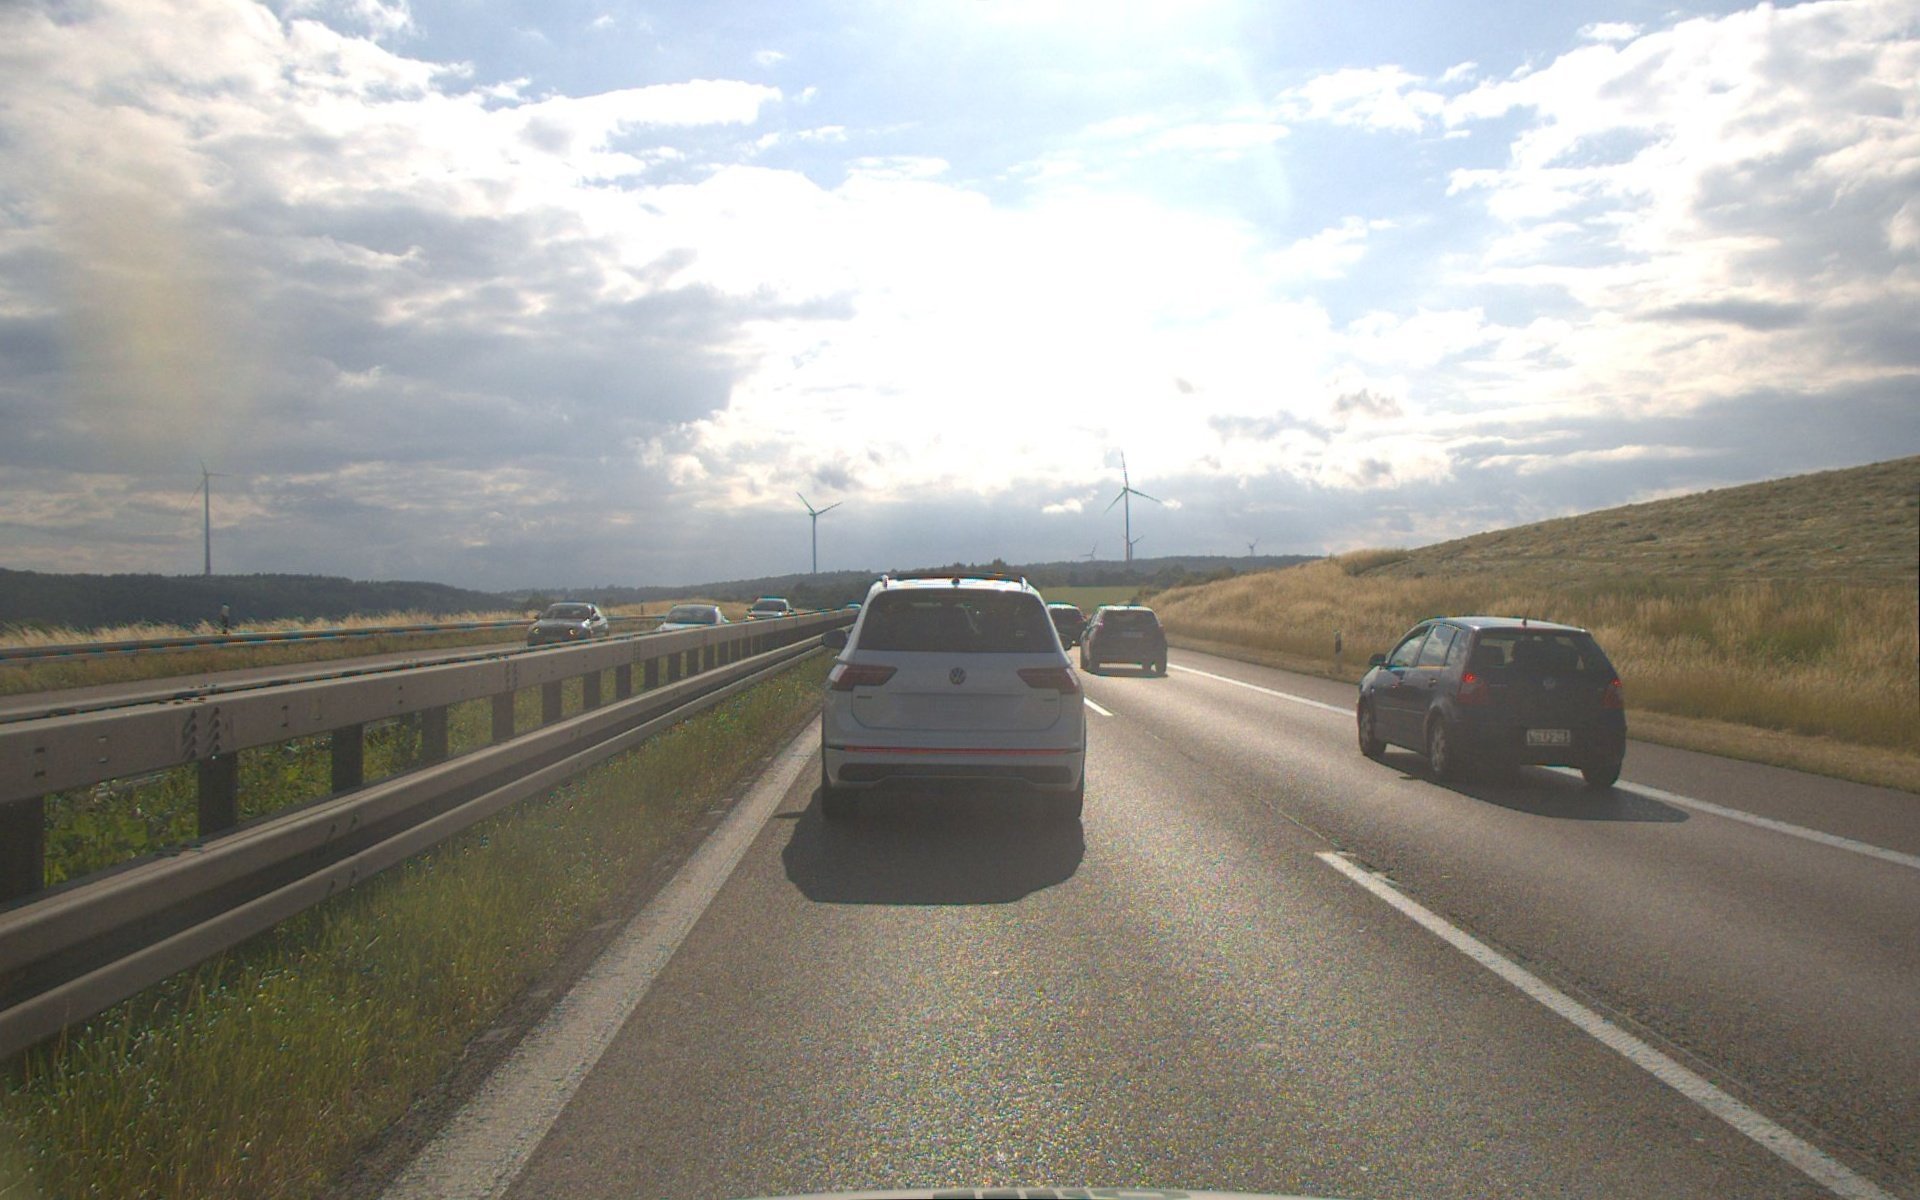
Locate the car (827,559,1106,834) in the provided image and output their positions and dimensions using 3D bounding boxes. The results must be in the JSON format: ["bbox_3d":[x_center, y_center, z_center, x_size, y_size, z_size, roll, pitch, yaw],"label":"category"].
[{"bbox_3d":[0.006,0.626,12.408,1.734,1.705,3.999,1,-1,-1],"label":"car"}]

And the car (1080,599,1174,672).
[{"bbox_3d":[3.778,0.790,38.023,1.669,1.573,3.999,1,0,-1],"label":"car"}]

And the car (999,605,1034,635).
[{"bbox_3d":[3.009,1.069,88.733,1.669,1.573,3.999,1,0,-1],"label":"car"}]

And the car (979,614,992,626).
[{"bbox_3d":[3.232,2.516,209.486,1.669,1.573,4.000,1,0,1],"label":"car"}]

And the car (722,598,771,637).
[{"bbox_3d":[-9.367,0.765,72.706,1.714,1.631,4.264,1,0,-2],"label":"car"}]

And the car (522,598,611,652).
[{"bbox_3d":[-11.660,0.717,49.265,1.714,1.505,4.478,1,0,-2],"label":"car"}]

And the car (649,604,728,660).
[{"bbox_3d":[-7.984,0.929,48.946,1.714,1.547,4.478,1,0,-2],"label":"car"}]

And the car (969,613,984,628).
[{"bbox_3d":[1.895,2.335,189.008,1.669,1.573,4.000,1,0,1],"label":"car"}]

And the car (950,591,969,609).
[{"bbox_3d":[-0.039,0.011,152.430,1.669,1.573,3.999,1,0,-1],"label":"car"}]

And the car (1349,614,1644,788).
[{"bbox_3d":[4.964,0.872,15.800,1.573,1.445,3.671,1,0,-1],"label":"car"}]

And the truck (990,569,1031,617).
[{"bbox_3d":[4.022,-0.563,135.205,3.118,3.656,11.131,1,0,1],"label":"truck"}]

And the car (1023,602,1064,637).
[{"bbox_3d":[3.949,0.926,78.481,1.669,1.573,3.999,1,0,-1],"label":"car"}]

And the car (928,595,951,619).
[{"bbox_3d":[-1.510,0.514,122.427,1.669,1.679,3.999,1,-1,-1],"label":"car"}]

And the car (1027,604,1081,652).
[{"bbox_3d":[3.477,1.023,61.582,1.669,1.679,3.999,1,-1,-1],"label":"car"}]
